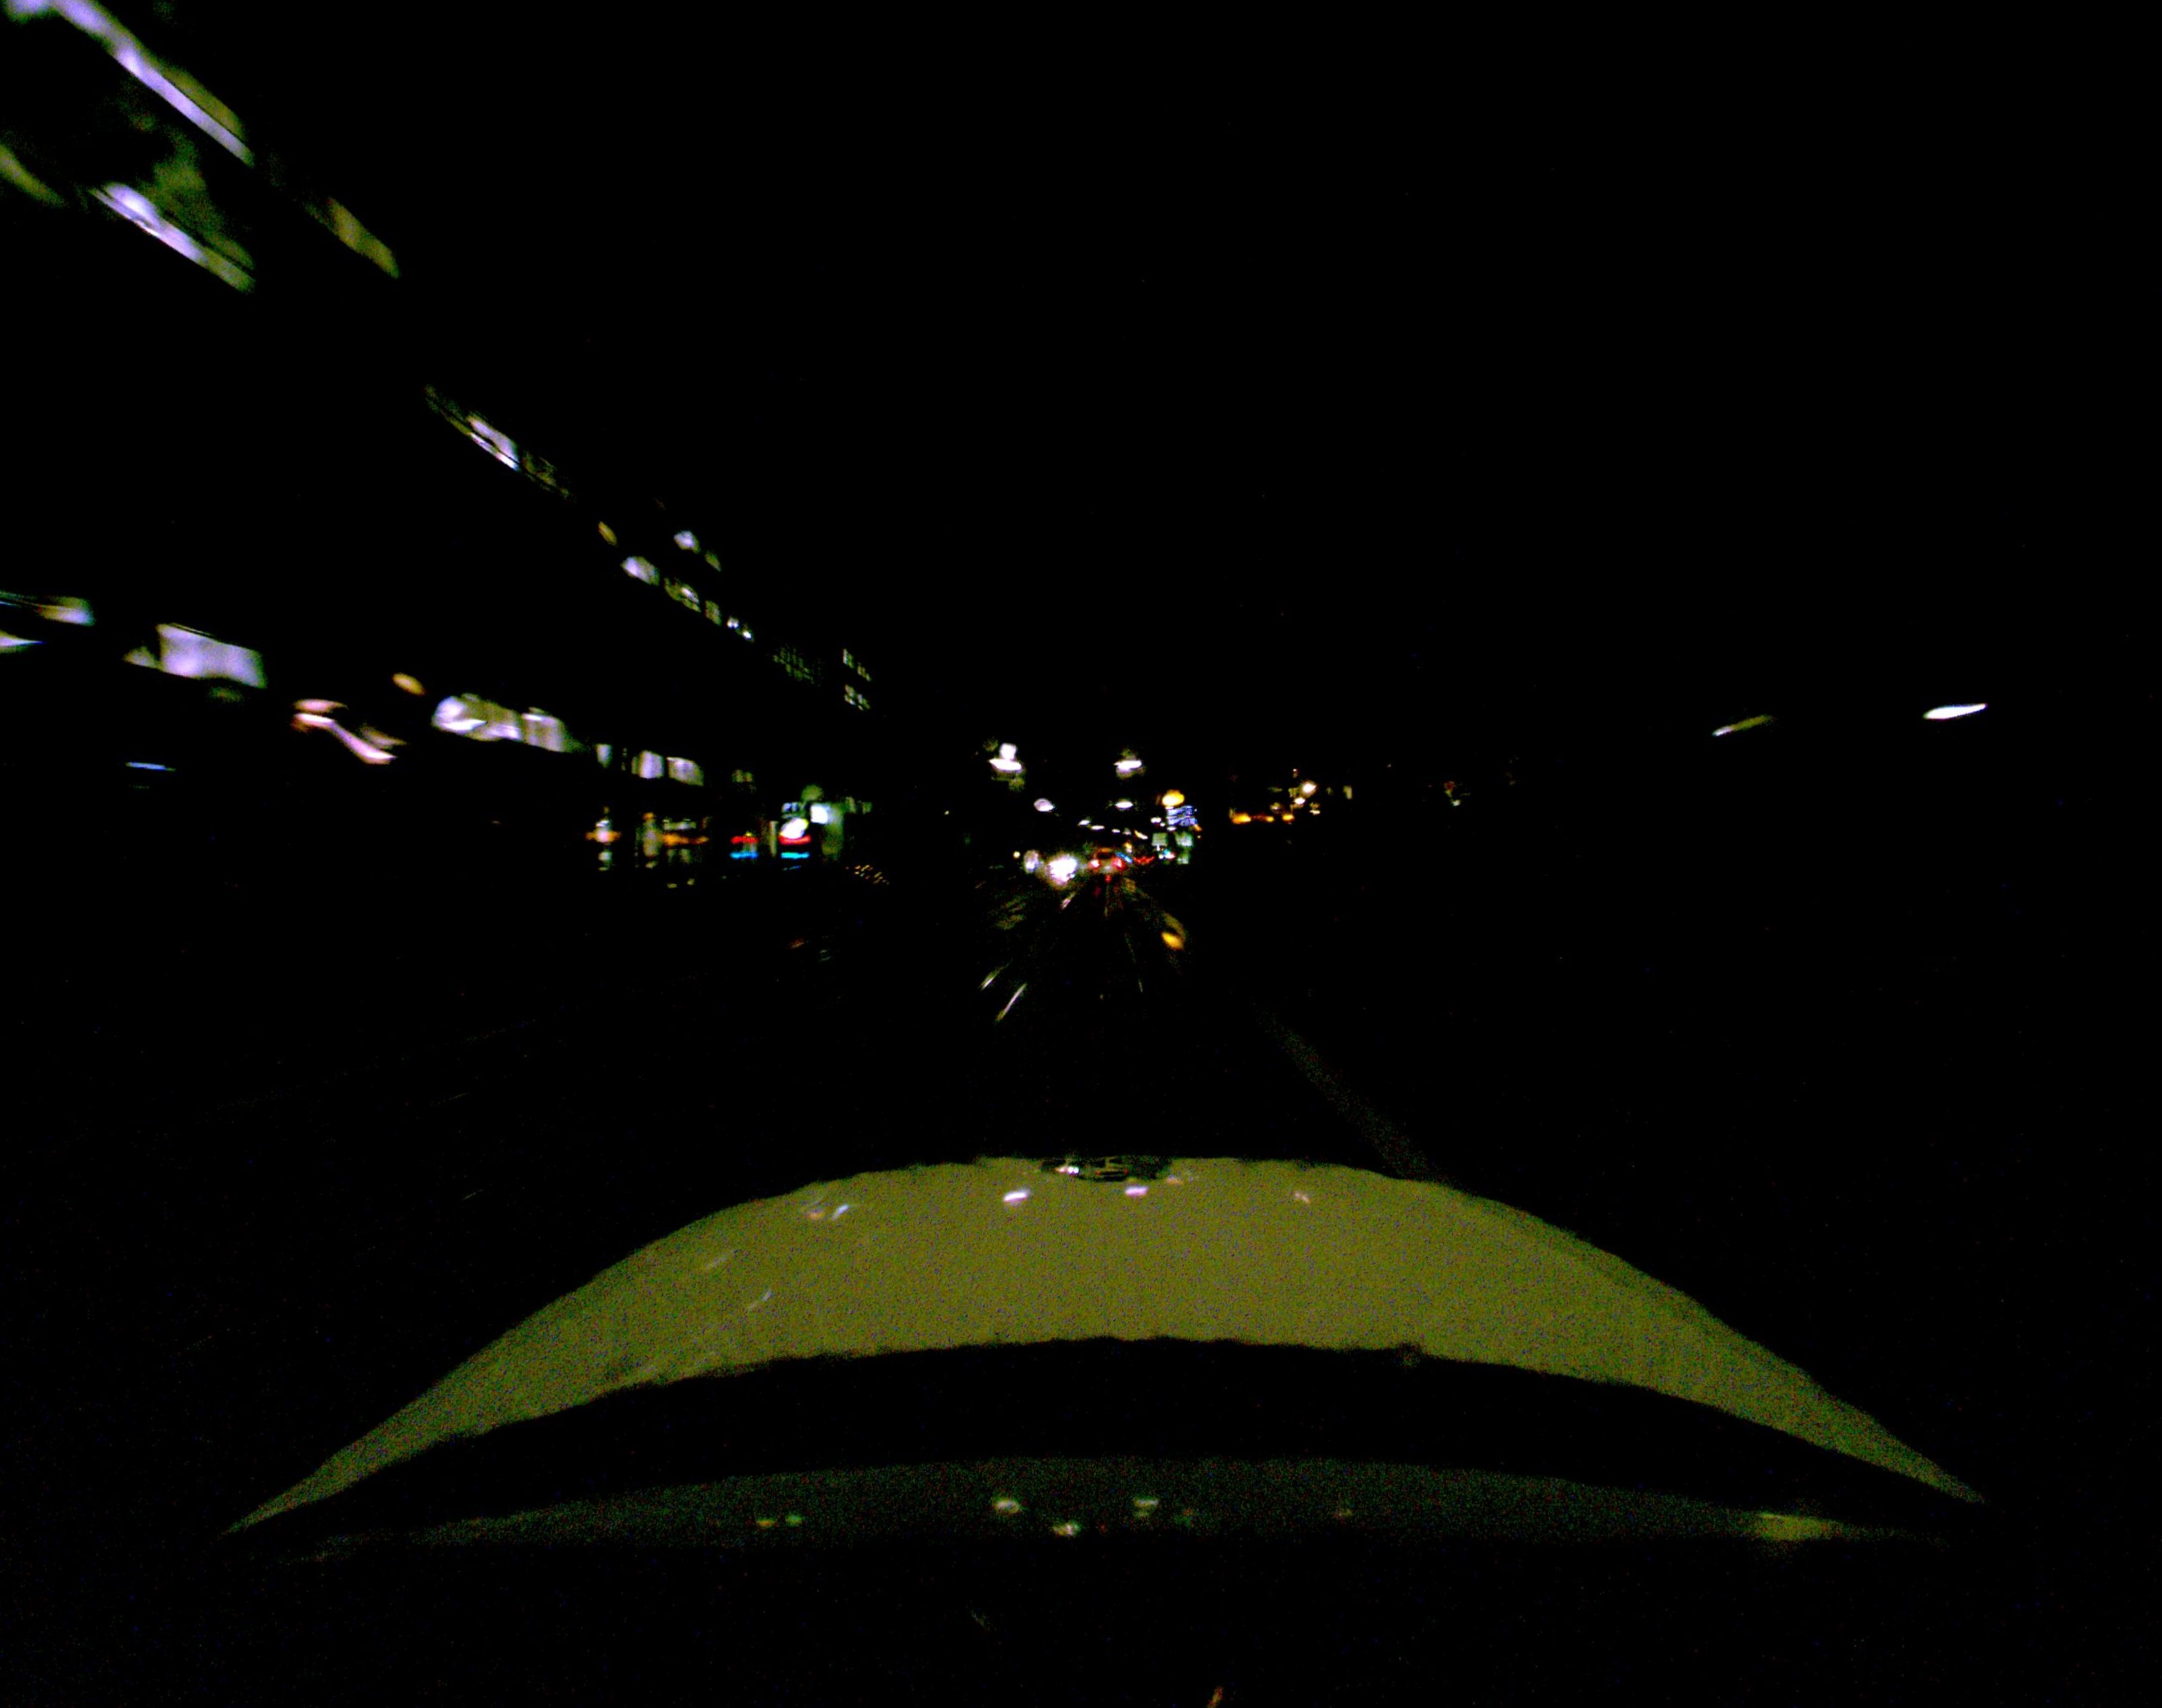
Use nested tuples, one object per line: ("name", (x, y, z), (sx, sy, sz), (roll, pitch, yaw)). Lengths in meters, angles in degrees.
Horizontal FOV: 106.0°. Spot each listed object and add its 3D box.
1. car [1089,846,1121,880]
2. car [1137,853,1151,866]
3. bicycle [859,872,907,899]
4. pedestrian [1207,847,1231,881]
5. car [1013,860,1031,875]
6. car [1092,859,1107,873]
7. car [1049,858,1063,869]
("car", (1.726, 0.662, 59.431), (2.236, 2.361, 4.394), (-1, -1, 1))
("car", (10.153, 0.889, 131.253), (1.986, 2.014, 4.001), (-1, -1, 1))
("bicycle", (-8.468, 1.357, 34.861), (1.847, 1.077, 0.628), (-1, -1, 1))
("pedestrian", (6.962, 0.504, 41.092), (0.937, 1.663, 0.993), (-4, 0, -3))
("car", (-8.113, 1.823, 112.556), (1.985, 2.014, 4.003), (-1, -1, 3))
("car", (2.541, 1.657, 111.270), (1.986, 1.816, 4.001), (-1, -1, 1))
("car", (-3.819, 1.475, 125.248), (1.988, 1.724, 4.073), (-1, -1, -2))
